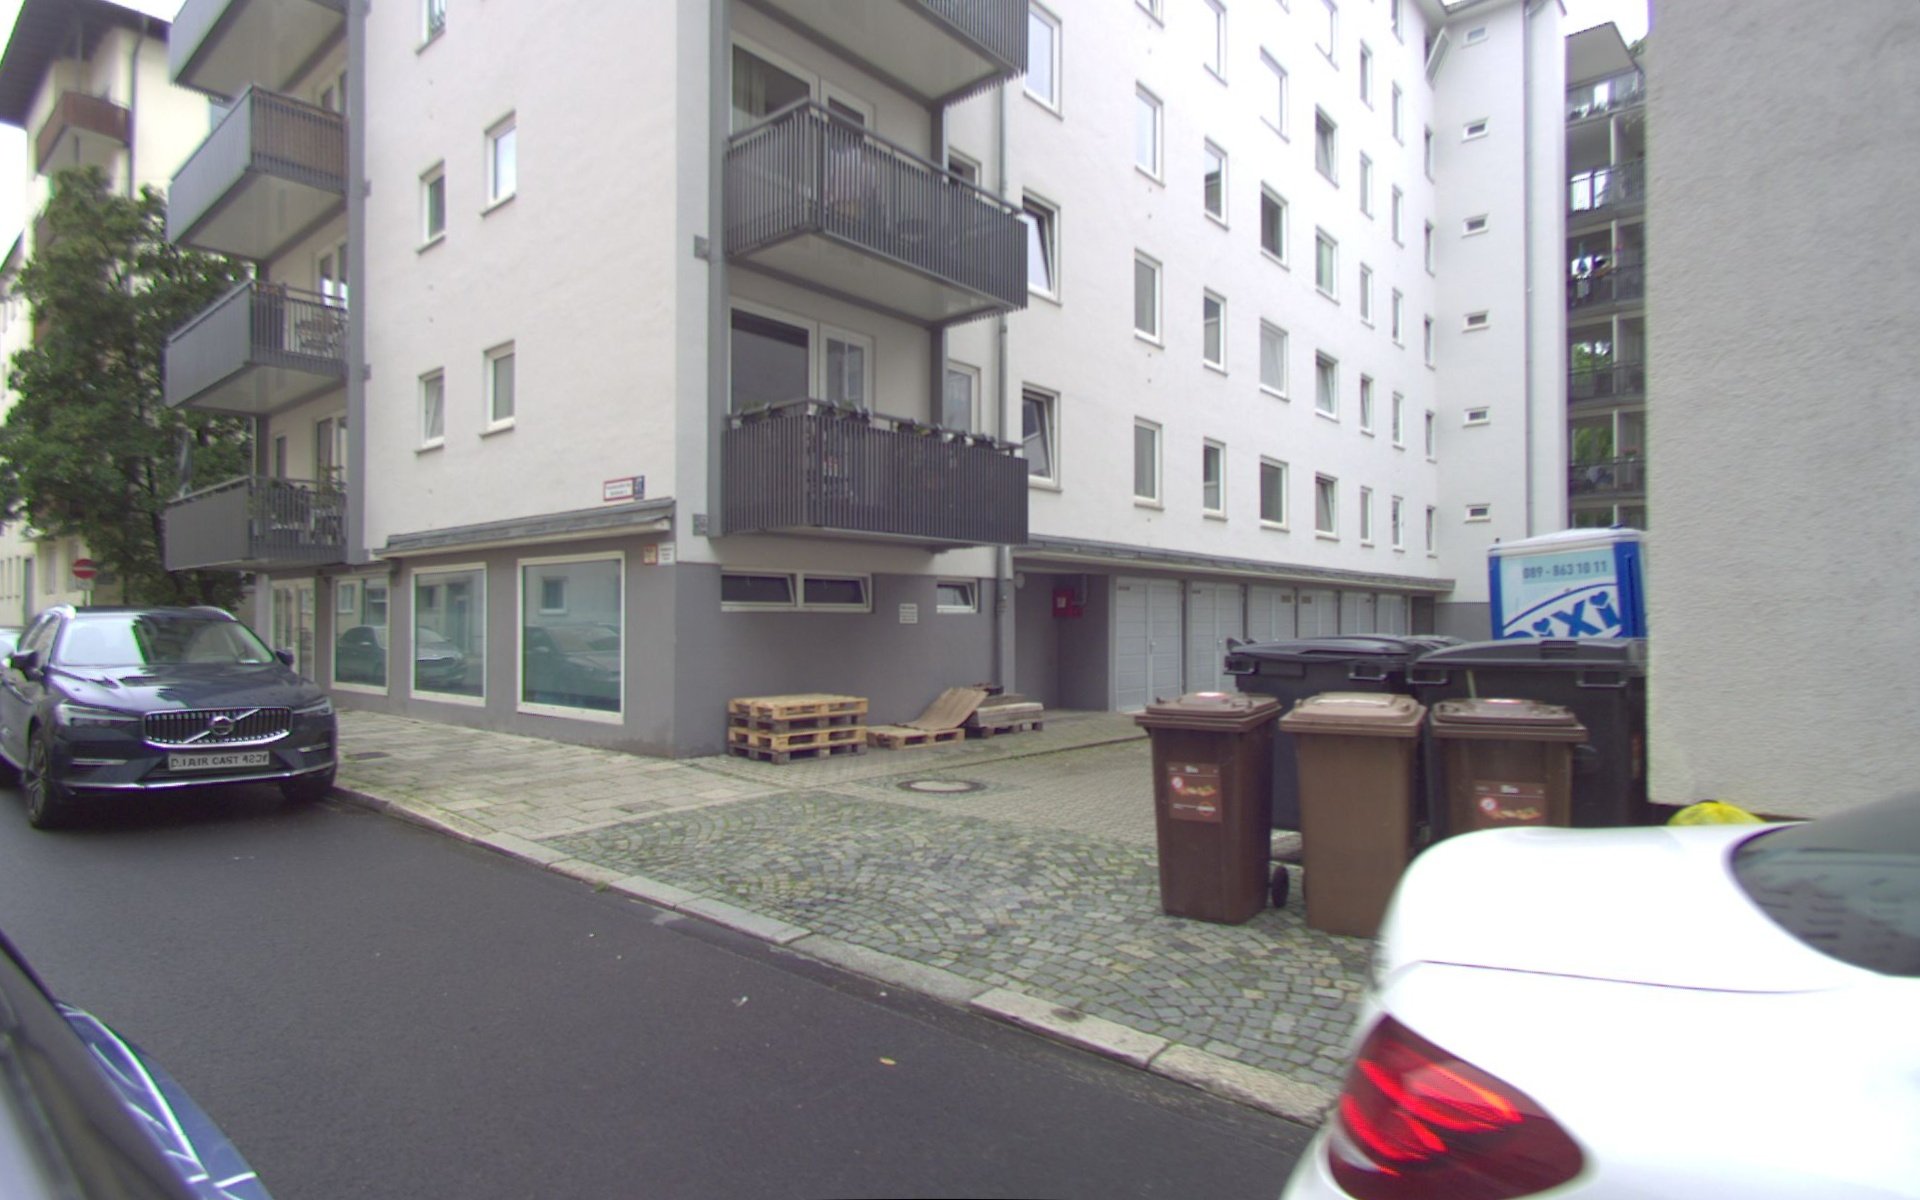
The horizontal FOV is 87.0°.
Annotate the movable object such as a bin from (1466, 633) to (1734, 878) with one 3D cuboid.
[{"bbox_3d":[3.903,0.846,6.174,1.200,1.273,1.108,-1,-2,42],"label":"movable object such as a bin"}]

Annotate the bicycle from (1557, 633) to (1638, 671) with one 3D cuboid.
[{"bbox_3d":[19.035,1.534,30.239,1.990,1.068,0.598,-1,-2,41],"label":"bicycle"}]

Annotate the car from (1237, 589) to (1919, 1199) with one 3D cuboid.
[{"bbox_3d":[2.731,0.703,0.255,4.806,1.448,1.892,-1,-1,41],"label":"car"}]

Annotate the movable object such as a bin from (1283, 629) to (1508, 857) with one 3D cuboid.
[{"bbox_3d":[3.029,0.902,7.037,1.153,1.385,1.078,-1,-2,42],"label":"movable object such as a bin"}]

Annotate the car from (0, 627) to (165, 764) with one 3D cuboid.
[{"bbox_3d":[-11.611,1.073,12.691,4.294,1.453,1.794,-1,-1,41],"label":"car"}]

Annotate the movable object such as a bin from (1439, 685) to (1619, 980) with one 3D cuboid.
[{"bbox_3d":[2.480,0.942,4.400,0.603,1.084,0.684,-1,-1,36],"label":"movable object such as a bin"}]

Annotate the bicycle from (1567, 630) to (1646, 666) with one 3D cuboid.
[{"bbox_3d":[20.067,1.473,31.442,1.990,1.068,0.598,-1,-2,41],"label":"bicycle"}]

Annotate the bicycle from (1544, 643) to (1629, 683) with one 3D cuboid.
[{"bbox_3d":[18.000,1.789,29.112,1.990,1.068,0.598,-1,-2,41],"label":"bicycle"}]

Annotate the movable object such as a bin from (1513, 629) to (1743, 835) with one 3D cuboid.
[{"bbox_3d":[4.727,0.847,7.163,1.200,1.273,1.108,-1,-2,42],"label":"movable object such as a bin"}]

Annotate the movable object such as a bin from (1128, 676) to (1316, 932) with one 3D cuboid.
[{"bbox_3d":[1.316,0.948,5.040,0.677,1.084,0.761,-1,-1,36],"label":"movable object such as a bin"}]

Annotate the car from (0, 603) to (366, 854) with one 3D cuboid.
[{"bbox_3d":[-7.065,0.874,8.788,4.538,1.619,1.946,-1,-1,41],"label":"car"}]

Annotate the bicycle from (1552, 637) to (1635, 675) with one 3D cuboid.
[{"bbox_3d":[18.579,1.627,29.727,1.990,1.068,0.598,-1,-2,41],"label":"bicycle"}]

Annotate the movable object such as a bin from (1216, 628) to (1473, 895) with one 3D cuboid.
[{"bbox_3d":[2.285,0.852,6.008,1.103,1.364,1.099,-1,-2,42],"label":"movable object such as a bin"}]

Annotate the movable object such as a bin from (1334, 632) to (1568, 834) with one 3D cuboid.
[{"bbox_3d":[3.891,0.957,8.010,1.348,1.385,1.321,-1,-2,42],"label":"movable object such as a bin"}]

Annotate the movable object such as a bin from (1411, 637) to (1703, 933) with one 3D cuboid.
[{"bbox_3d":[3.092,0.841,5.235,1.097,1.273,1.108,-1,-2,42],"label":"movable object such as a bin"}]

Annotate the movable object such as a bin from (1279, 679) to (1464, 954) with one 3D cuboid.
[{"bbox_3d":[1.931,0.942,4.724,0.634,1.084,0.761,-1,-1,36],"label":"movable object such as a bin"}]

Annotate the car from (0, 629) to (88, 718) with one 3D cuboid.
[{"bbox_3d":[-17.233,1.248,18.041,4.294,1.410,1.946,-1,-1,41],"label":"car"}]
